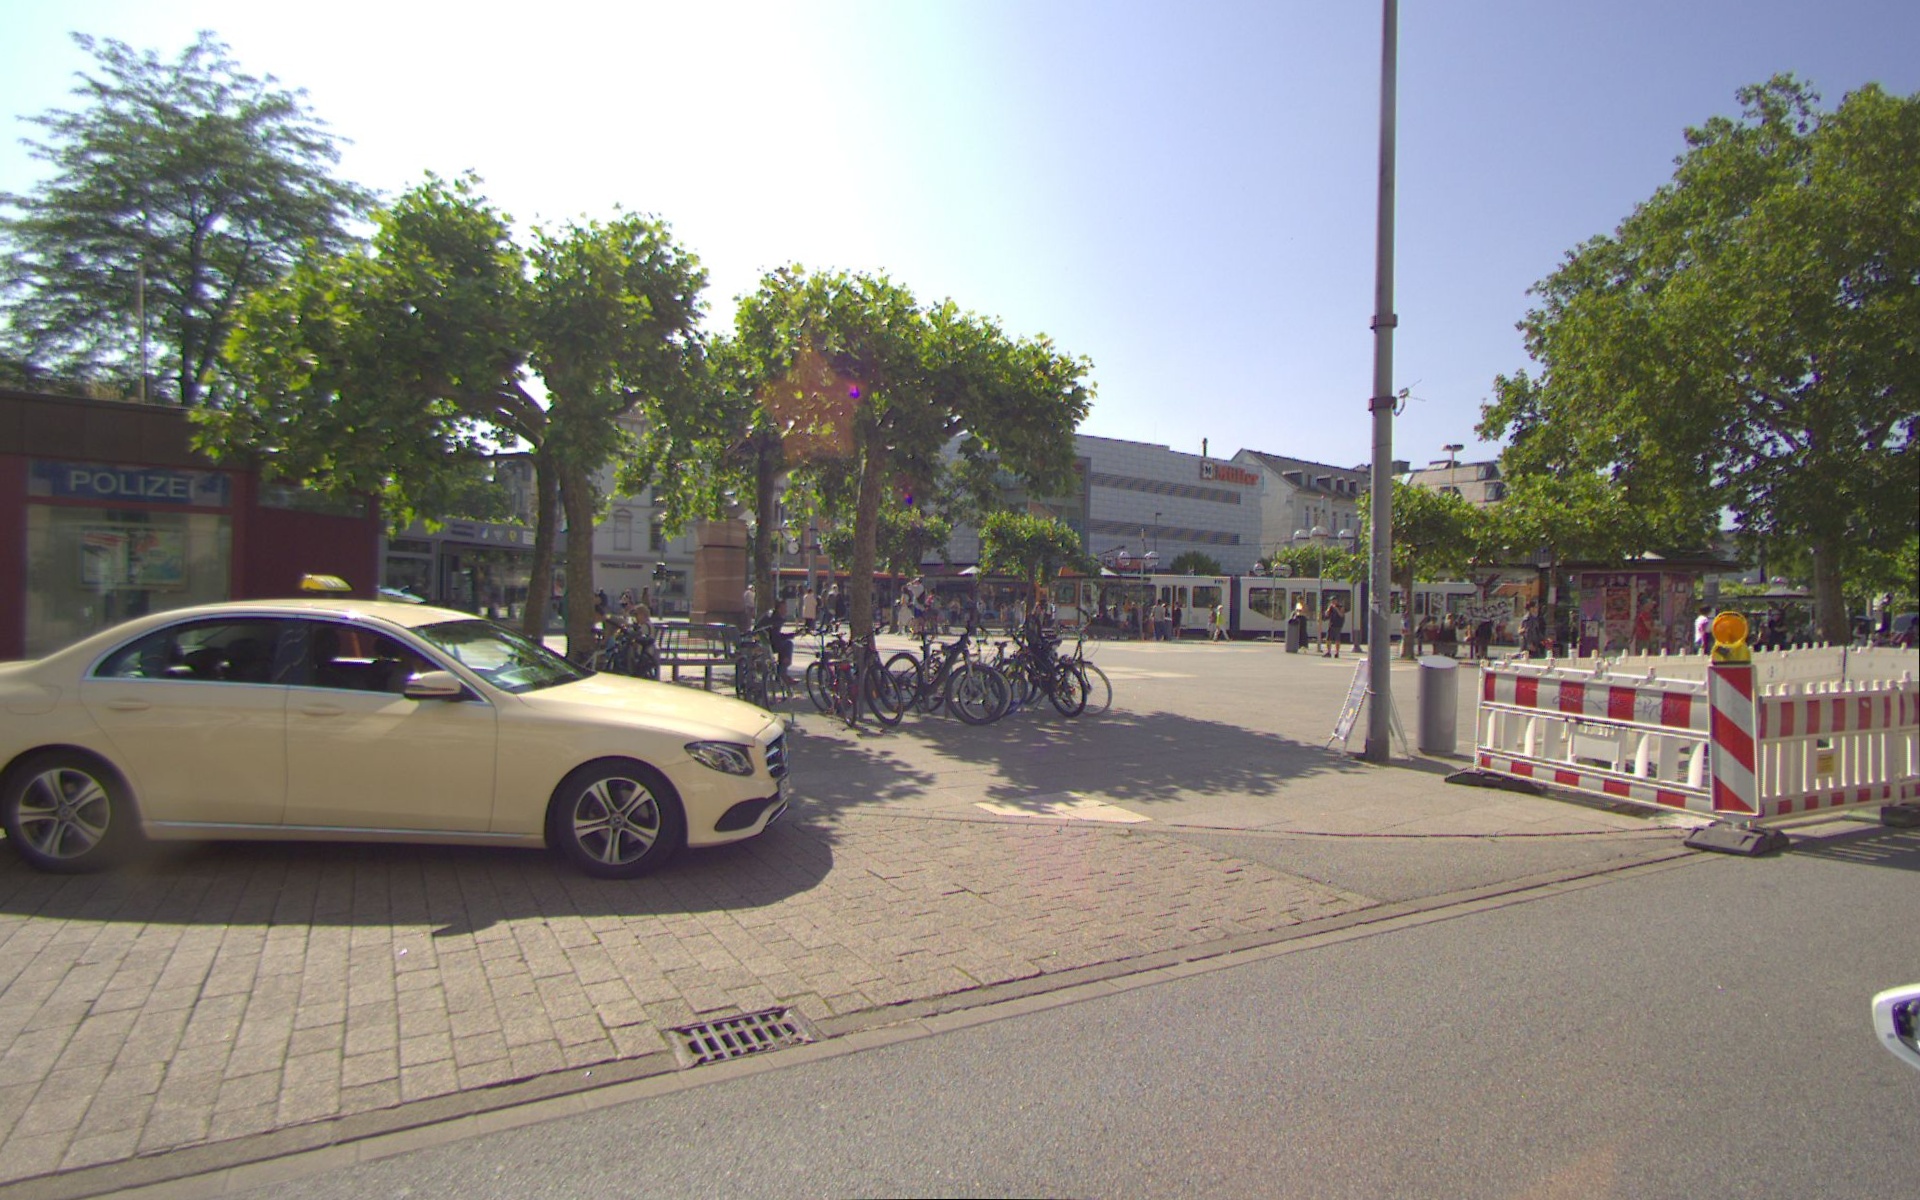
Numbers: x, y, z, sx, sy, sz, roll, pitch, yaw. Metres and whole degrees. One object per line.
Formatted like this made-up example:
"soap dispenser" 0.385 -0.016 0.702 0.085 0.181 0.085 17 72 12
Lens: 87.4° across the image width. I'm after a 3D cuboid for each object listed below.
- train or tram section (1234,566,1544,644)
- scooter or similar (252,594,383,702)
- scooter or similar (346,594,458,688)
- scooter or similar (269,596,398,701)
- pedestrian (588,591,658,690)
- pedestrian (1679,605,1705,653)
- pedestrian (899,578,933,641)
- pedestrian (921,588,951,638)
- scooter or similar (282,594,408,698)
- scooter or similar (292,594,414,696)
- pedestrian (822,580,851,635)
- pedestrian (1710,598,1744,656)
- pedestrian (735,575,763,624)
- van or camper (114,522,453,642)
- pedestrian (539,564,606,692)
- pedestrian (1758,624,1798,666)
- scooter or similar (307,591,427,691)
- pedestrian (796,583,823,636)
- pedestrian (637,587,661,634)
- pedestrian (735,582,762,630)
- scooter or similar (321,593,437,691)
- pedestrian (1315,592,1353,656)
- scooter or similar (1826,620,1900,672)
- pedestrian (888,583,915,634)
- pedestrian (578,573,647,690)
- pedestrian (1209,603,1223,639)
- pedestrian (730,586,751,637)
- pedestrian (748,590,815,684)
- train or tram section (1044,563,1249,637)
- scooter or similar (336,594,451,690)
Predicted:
"train or tram section" 22.778 0.246 54.016 15.234 3.726 2.622 1 0 4
"scooter or similar" -7.463 0.557 11.691 1.280 1.230 0.233 1 1 -11
"scooter or similar" -7.456 0.548 13.450 1.280 1.230 0.264 1 1 -11
"scooter or similar" -7.439 0.578 11.948 1.280 1.230 0.233 1 1 -11
"pedestrian" -4.743 0.552 14.143 0.663 1.326 0.683 2 1 43
"pedestrian" 24.878 0.990 34.136 0.489 1.624 0.500 2 -2 -10
"pedestrian" -1.304 0.264 29.745 0.600 1.823 0.795 1 1 -36
"pedestrian" -0.779 0.421 32.400 0.600 1.582 0.796 1 1 -35
"scooter or similar" -7.448 0.553 12.186 1.280 1.230 0.233 1 1 -11
"scooter or similar" -7.493 0.557 12.425 1.280 1.230 0.233 1 1 -11
"pedestrian" -4.089 0.251 33.154 0.600 1.773 0.796 1 1 -35
"pedestrian" 24.753 0.873 32.420 0.604 1.833 0.634 2 -3 -10
"pedestrian" -7.740 -0.030 36.875 0.792 1.773 0.602 3 2 44
"van or camper" -12.284 -0.251 18.661 4.970 1.944 1.862 2 0 -32
"pedestrian" -5.372 0.372 13.907 0.681 1.700 0.666 1 1 -38
"pedestrian" 25.832 1.417 31.722 0.717 1.310 0.633 2 0 -9
"scooter or similar" -7.469 0.520 12.678 1.280 1.230 0.233 1 1 -11
"pedestrian" -5.169 0.333 34.476 0.600 1.773 0.796 1 1 -35
"pedestrian" -11.363 0.387 36.717 0.566 1.660 0.603 3 2 41
"pedestrian" -7.371 0.203 34.979 0.600 1.643 0.796 1 1 -35
"scooter or similar" -7.473 0.543 12.940 1.280 1.230 0.233 1 1 -11
"pedestrian" 10.614 0.671 28.549 0.788 1.773 0.606 2 1 2
"scooter or similar" 26.412 1.337 29.405 1.018 1.439 1.281 1 0 1
"pedestrian" -2.063 0.297 35.422 0.600 1.773 0.796 1 1 -35
"pedestrian" -5.027 0.431 14.521 0.668 1.627 0.795 1 1 -43
"pedestrian" 12.789 1.061 50.168 0.594 1.773 0.804 1 0 9
"pedestrian" -7.816 0.402 35.792 0.498 1.773 0.540 1 1 -35
"pedestrian" -2.761 0.558 15.475 0.884 1.400 0.670 1 1 -21
"train or tram section" 10.064 -0.046 55.053 10.779 3.726 2.623 1 0 5
"scooter or similar" -7.428 0.549 13.193 1.280 1.230 0.233 1 1 -11
